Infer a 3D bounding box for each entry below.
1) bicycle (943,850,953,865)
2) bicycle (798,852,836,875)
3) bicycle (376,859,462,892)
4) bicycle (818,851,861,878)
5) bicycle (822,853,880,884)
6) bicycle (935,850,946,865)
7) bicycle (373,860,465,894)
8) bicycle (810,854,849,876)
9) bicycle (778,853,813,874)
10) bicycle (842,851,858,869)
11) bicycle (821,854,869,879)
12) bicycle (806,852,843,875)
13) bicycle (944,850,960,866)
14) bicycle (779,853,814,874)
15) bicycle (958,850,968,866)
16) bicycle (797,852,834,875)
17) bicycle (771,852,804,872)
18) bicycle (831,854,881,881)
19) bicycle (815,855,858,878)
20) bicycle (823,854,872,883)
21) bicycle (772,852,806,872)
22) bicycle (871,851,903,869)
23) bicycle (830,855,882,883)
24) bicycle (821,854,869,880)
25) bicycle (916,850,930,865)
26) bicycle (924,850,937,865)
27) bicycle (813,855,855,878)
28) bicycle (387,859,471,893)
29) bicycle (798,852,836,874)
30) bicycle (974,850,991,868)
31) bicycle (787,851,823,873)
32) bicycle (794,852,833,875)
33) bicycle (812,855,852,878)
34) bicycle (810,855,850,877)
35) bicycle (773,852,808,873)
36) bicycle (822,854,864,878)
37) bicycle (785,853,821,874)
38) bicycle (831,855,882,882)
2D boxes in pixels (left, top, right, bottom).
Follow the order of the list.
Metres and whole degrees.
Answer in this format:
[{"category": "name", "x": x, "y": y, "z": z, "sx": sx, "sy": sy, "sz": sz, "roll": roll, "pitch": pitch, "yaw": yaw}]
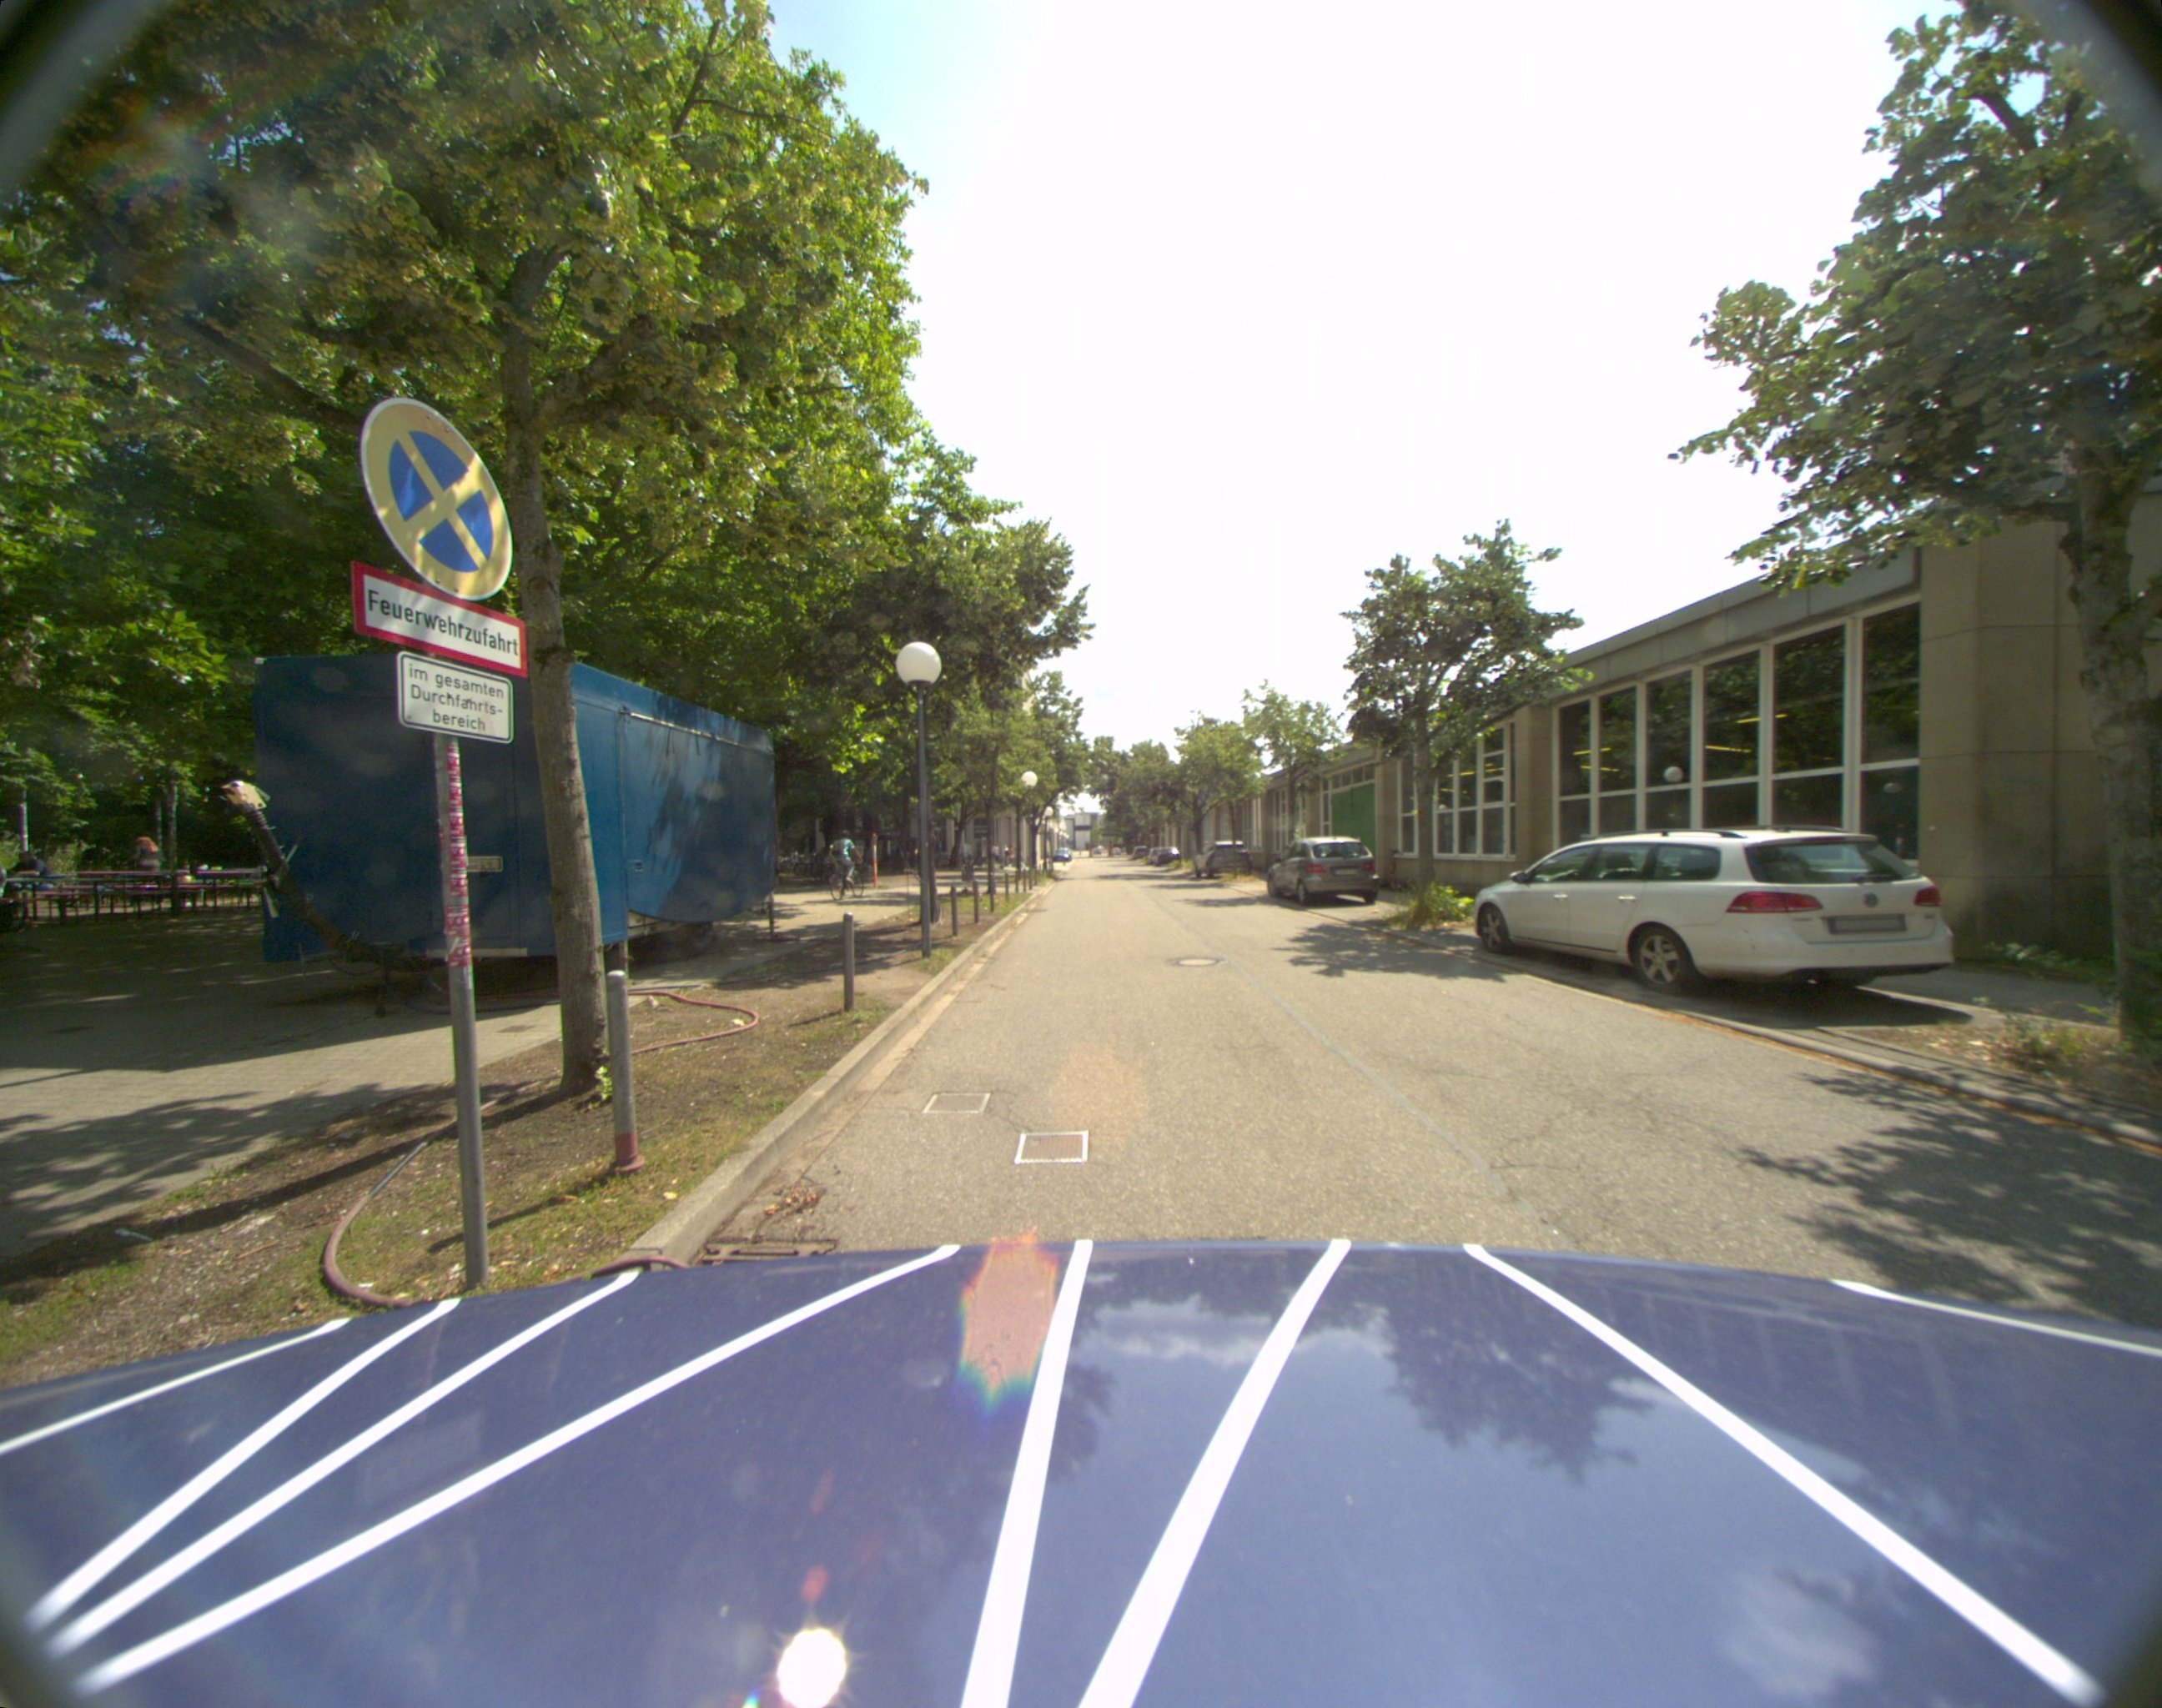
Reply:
[{"category": "bicycle", "x": -9.820, "y": 0.290, "z": 56.067, "sx": 0.460, "sy": 1.079, "sz": 1.440, "roll": 1, "pitch": -1, "yaw": -2}, {"category": "bicycle", "x": -13.975, "y": 0.496, "z": 40.185, "sx": 1.848, "sy": 1.163, "sz": 0.401, "roll": -1, "pitch": 1, "yaw": -33}, {"category": "bicycle", "x": -20.371, "y": 0.660, "z": 23.419, "sx": 1.961, "sy": 0.973, "sz": 0.438, "roll": 0, "pitch": 1, "yaw": -18}, {"category": "bicycle", "x": -10.738, "y": 0.460, "z": 33.757, "sx": 1.742, "sy": 1.148, "sz": 0.493, "roll": -1, "pitch": 1, "yaw": -36}, {"category": "bicycle", "x": -8.699, "y": 0.540, "z": 28.810, "sx": 2.021, "sy": 1.160, "sz": 0.651, "roll": -1, "pitch": 1, "yaw": -11}, {"category": "bicycle", "x": -10.300, "y": 0.292, "z": 55.745, "sx": 0.460, "sy": 1.079, "sz": 1.474, "roll": 1, "pitch": -1, "yaw": 2}, {"category": "bicycle", "x": -19.746, "y": 0.678, "z": 22.702, "sx": 1.961, "sy": 0.973, "sz": 0.612, "roll": 0, "pitch": 1, "yaw": -18}, {"category": "bicycle", "x": -12.718, "y": 0.554, "z": 38.450, "sx": 1.796, "sy": 1.064, "sz": 0.425, "roll": -1, "pitch": 1, "yaw": -27}, {"category": "bicycle", "x": -16.398, "y": 0.547, "z": 43.643, "sx": 1.848, "sy": 1.163, "sz": 0.352, "roll": -1, "pitch": 1, "yaw": -36}, {"category": "bicycle", "x": -14.813, "y": 0.396, "z": 48.673, "sx": 0.476, "sy": 1.103, "sz": 1.665, "roll": -2, "pitch": 2, "yaw": -36}, {"category": "bicycle", "x": -10.122, "y": 0.526, "z": 32.623, "sx": 1.916, "sy": 1.053, "sz": 0.325, "roll": -1, "pitch": 1, "yaw": -22}, {"category": "bicycle", "x": -13.424, "y": 0.476, "z": 39.766, "sx": 1.796, "sy": 1.163, "sz": 0.401, "roll": -1, "pitch": 1, "yaw": -33}, {"category": "bicycle", "x": -9.403, "y": 0.277, "z": 55.440, "sx": 0.491, "sy": 1.134, "sz": 1.529, "roll": 0, "pitch": -1, "yaw": 20}, {"category": "bicycle", "x": -16.212, "y": 0.552, "z": 43.317, "sx": 1.848, "sy": 1.163, "sz": 0.352, "roll": -1, "pitch": 1, "yaw": -36}, {"category": "bicycle", "x": -8.647, "y": 0.288, "z": 55.770, "sx": 0.561, "sy": 1.134, "sz": 1.489, "roll": 1, "pitch": -1, "yaw": -2}, {"category": "bicycle", "x": -14.270, "y": 0.495, "z": 40.858, "sx": 1.848, "sy": 1.163, "sz": 0.344, "roll": -1, "pitch": 1, "yaw": -33}, {"category": "bicycle", "x": -17.828, "y": 0.472, "z": 46.146, "sx": 1.849, "sy": 1.163, "sz": 0.387, "roll": -1, "pitch": 1, "yaw": -38}, {"category": "bicycle", "x": -9.301, "y": 0.564, "z": 31.465, "sx": 1.950, "sy": 1.076, "sz": 0.404, "roll": -1, "pitch": 1, "yaw": -11}, {"category": "bicycle", "x": -11.214, "y": 0.578, "z": 34.863, "sx": 1.800, "sy": 1.022, "sz": 0.439, "roll": -1, "pitch": 1, "yaw": -31}, {"category": "bicycle", "x": -9.183, "y": 0.569, "z": 29.947, "sx": 1.773, "sy": 1.076, "sz": 0.438, "roll": -1, "pitch": 1, "yaw": -11}, {"category": "bicycle", "x": -17.110, "y": 0.472, "z": 44.545, "sx": 1.848, "sy": 1.163, "sz": 0.352, "roll": -1, "pitch": 1, "yaw": -36}, {"category": "bicycle", "x": -12.611, "y": 0.356, "z": 49.423, "sx": 1.928, "sy": 1.103, "sz": 0.631, "roll": -2, "pitch": 3, "yaw": -36}, {"category": "bicycle", "x": -8.983, "y": 0.575, "z": 30.369, "sx": 1.950, "sy": 1.076, "sz": 0.404, "roll": -1, "pitch": 1, "yaw": -11}, {"category": "bicycle", "x": -10.016, "y": 0.529, "z": 32.332, "sx": 1.916, "sy": 1.053, "sz": 0.325, "roll": -1, "pitch": 1, "yaw": -22}, {"category": "bicycle", "x": -11.555, "y": 0.281, "z": 55.598, "sx": 0.481, "sy": 1.079, "sz": 1.697, "roll": 1, "pitch": -1, "yaw": 6}, {"category": "bicycle", "x": -11.077, "y": 0.296, "z": 55.880, "sx": 0.481, "sy": 1.079, "sz": 1.516, "roll": 1, "pitch": -1, "yaw": 6}, {"category": "bicycle", "x": -11.600, "y": 0.592, "z": 35.689, "sx": 1.796, "sy": 1.022, "sz": 0.381, "roll": -1, "pitch": 1, "yaw": -31}, {"category": "bicycle", "x": -20.442, "y": 0.672, "z": 23.856, "sx": 1.961, "sy": 1.033, "sz": 0.434, "roll": 0, "pitch": 1, "yaw": -18}, {"category": "bicycle", "x": -14.093, "y": 0.476, "z": 40.551, "sx": 1.848, "sy": 1.163, "sz": 0.344, "roll": -1, "pitch": 1, "yaw": -33}, {"category": "bicycle", "x": -6.394, "y": 0.306, "z": 49.225, "sx": 0.629, "sy": 1.078, "sz": 1.684, "roll": -4, "pitch": 4, "yaw": -22}, {"category": "bicycle", "x": -15.322, "y": 0.445, "z": 42.223, "sx": 1.848, "sy": 1.163, "sz": 0.344, "roll": -1, "pitch": 1, "yaw": -36}, {"category": "bicycle", "x": -13.741, "y": 0.479, "z": 39.075, "sx": 1.796, "sy": 1.163, "sz": 0.401, "roll": -1, "pitch": 1, "yaw": -33}, {"category": "bicycle", "x": -12.101, "y": 0.593, "z": 36.914, "sx": 1.796, "sy": 1.064, "sz": 0.425, "roll": -1, "pitch": 1, "yaw": -29}, {"category": "bicycle", "x": -12.313, "y": 0.587, "z": 37.299, "sx": 1.796, "sy": 1.064, "sz": 0.425, "roll": -1, "pitch": 1, "yaw": -29}, {"category": "bicycle", "x": -16.899, "y": 0.478, "z": 44.257, "sx": 1.848, "sy": 1.163, "sz": 0.352, "roll": -1, "pitch": 1, "yaw": -36}, {"category": "bicycle", "x": -10.810, "y": 0.542, "z": 34.556, "sx": 1.742, "sy": 1.046, "sz": 0.493, "roll": -1, "pitch": 1, "yaw": -36}, {"category": "bicycle", "x": -15.521, "y": 0.533, "z": 42.506, "sx": 1.848, "sy": 1.163, "sz": 0.344, "roll": -1, "pitch": 1, "yaw": -36}, {"category": "bicycle", "x": -9.074, "y": 0.573, "z": 30.790, "sx": 1.950, "sy": 1.076, "sz": 0.404, "roll": -1, "pitch": 1, "yaw": -11}]
